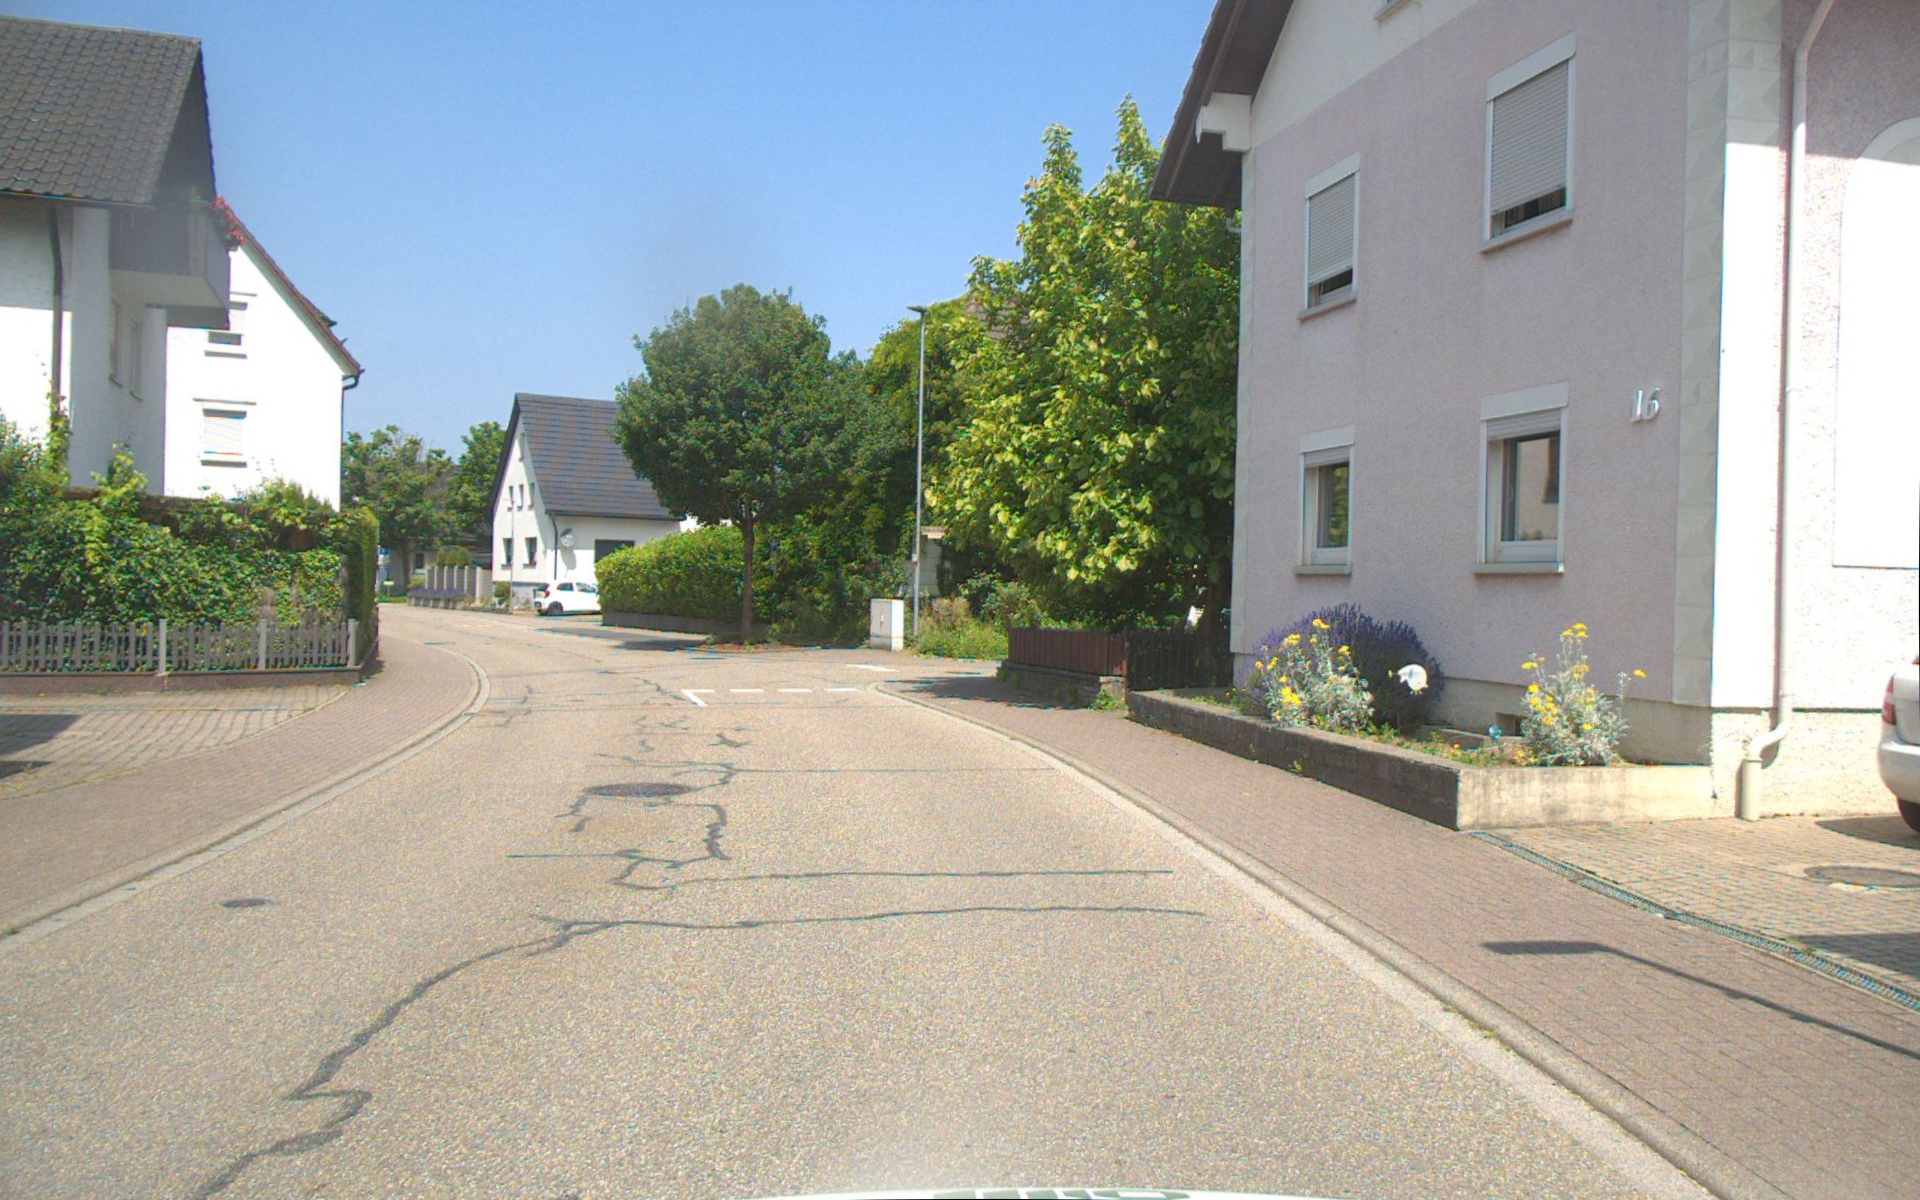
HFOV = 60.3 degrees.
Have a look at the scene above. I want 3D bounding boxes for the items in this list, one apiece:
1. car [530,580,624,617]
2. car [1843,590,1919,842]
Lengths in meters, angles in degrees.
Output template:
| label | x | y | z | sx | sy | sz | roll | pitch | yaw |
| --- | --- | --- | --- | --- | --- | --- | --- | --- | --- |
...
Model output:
| label | x | y | z | sx | sy | sz | roll | pitch | yaw |
| --- | --- | --- | --- | --- | --- | --- | --- | --- | --- |
| car | -16.547 | -0.066 | 71.441 | 3.625 | 1.500 | 1.745 | -1 | 2 | -34 |
| car | 7.508 | 0.692 | 10.026 | 3.685 | 1.486 | 1.674 | 0 | 1 | -15 |
